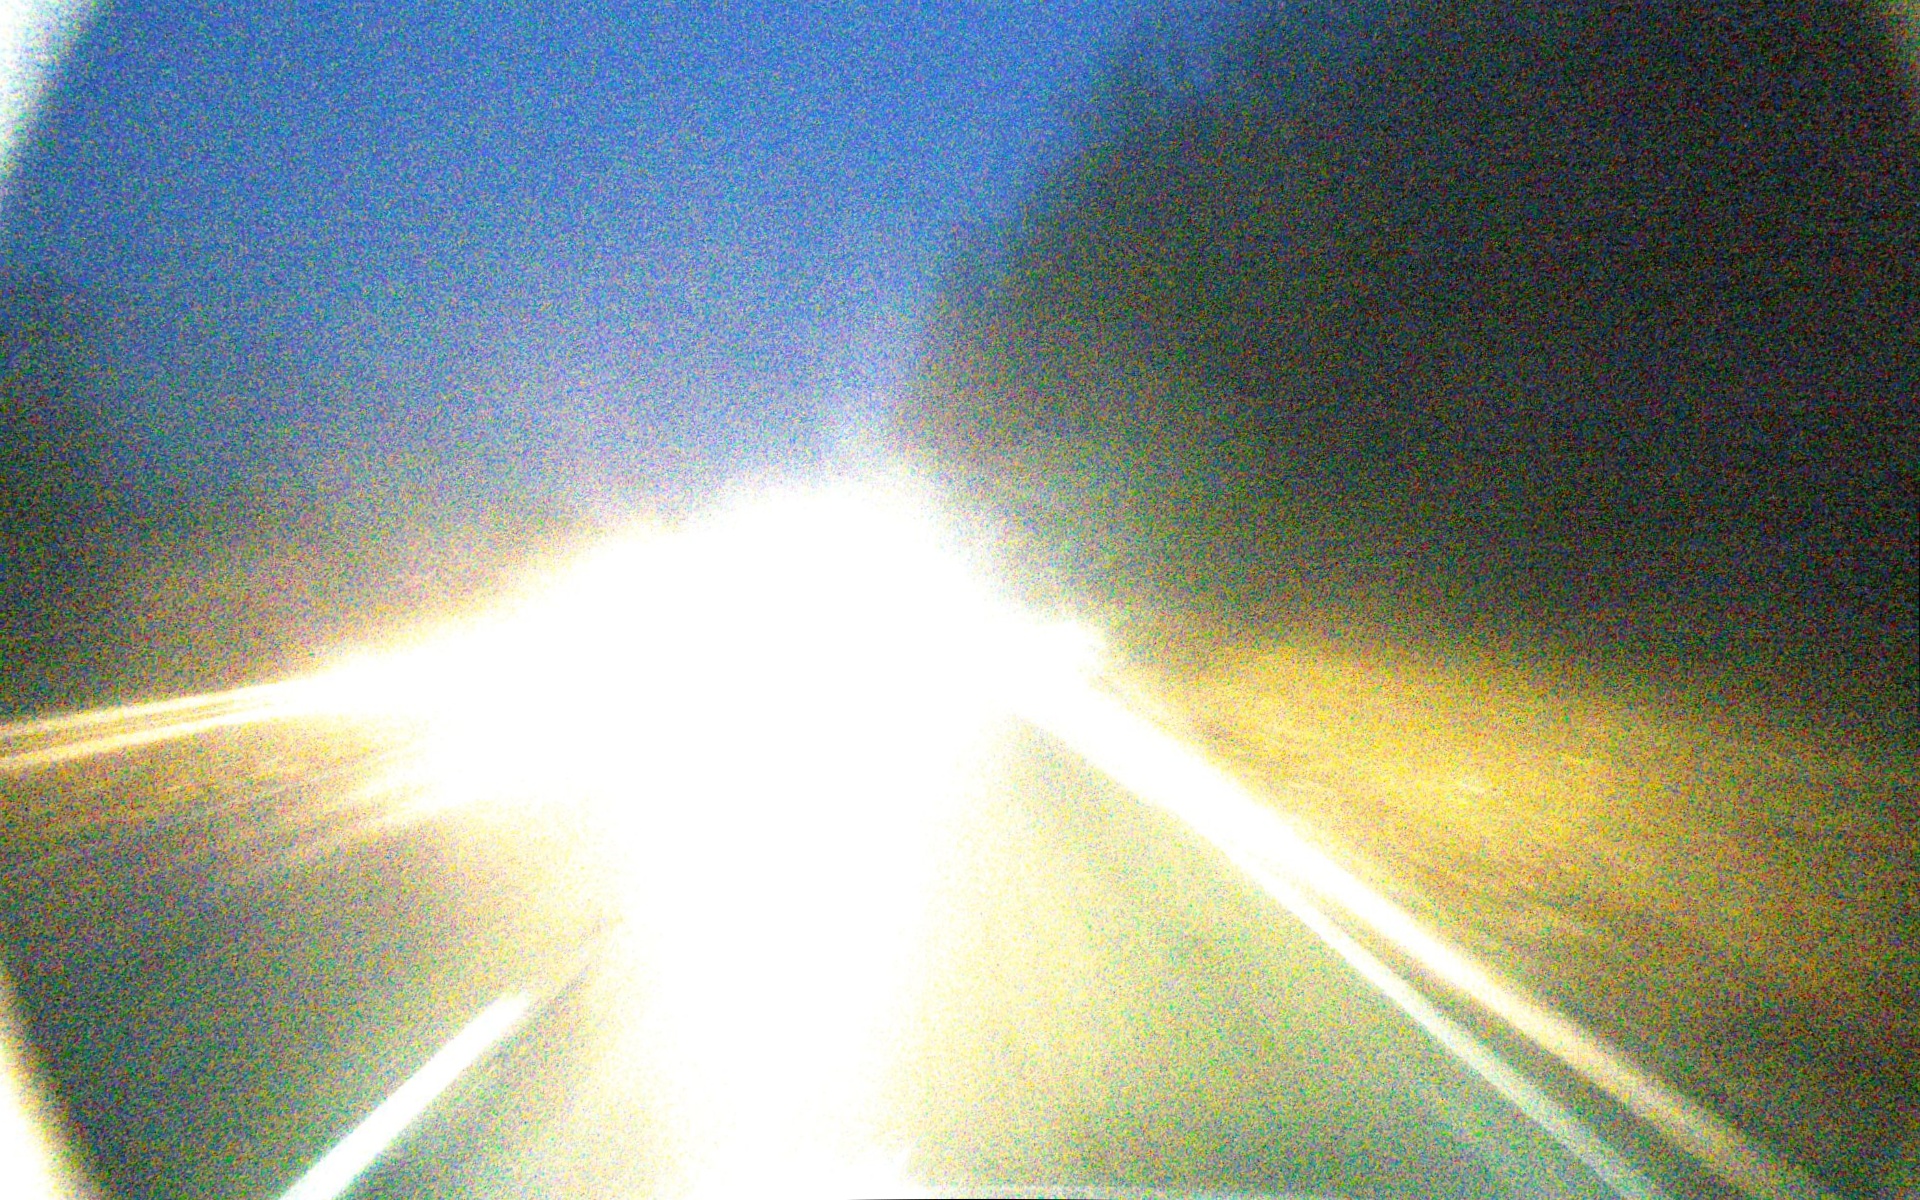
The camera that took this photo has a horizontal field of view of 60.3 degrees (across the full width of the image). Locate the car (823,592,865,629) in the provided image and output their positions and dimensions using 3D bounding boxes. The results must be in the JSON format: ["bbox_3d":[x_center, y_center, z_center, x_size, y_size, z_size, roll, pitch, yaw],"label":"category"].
[{"bbox_3d":[-5.177,0.454,74.226,1.781,1.582,3.869,-1,0,-3],"label":"car"}]

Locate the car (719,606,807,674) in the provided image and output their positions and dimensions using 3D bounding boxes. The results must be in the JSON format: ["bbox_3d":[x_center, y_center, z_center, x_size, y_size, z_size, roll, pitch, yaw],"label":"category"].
[{"bbox_3d":[-4.291,0.848,36.466,1.549,1.410,3.584,1,0,-1],"label":"car"}]
